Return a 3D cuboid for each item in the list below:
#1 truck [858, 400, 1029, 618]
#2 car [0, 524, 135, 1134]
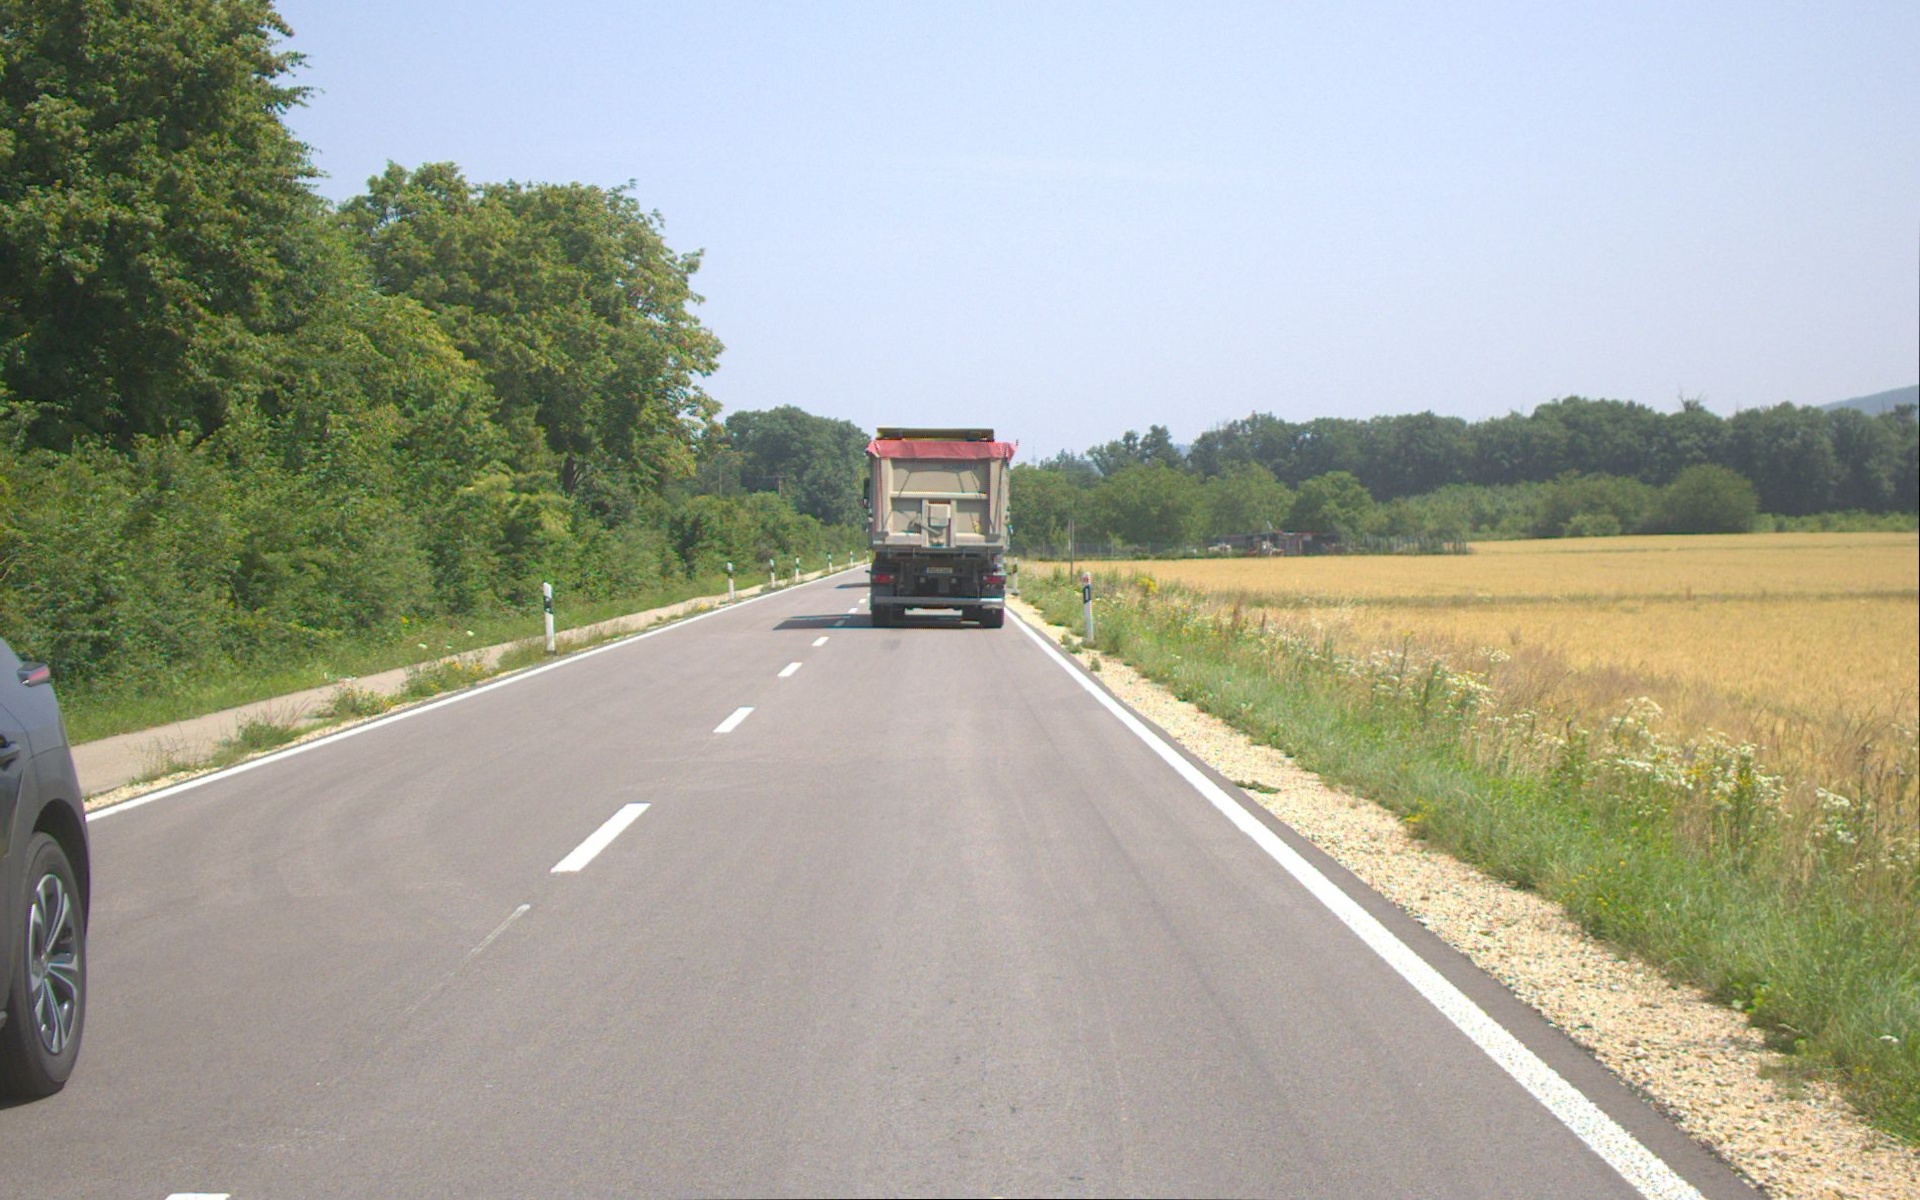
[{"bbox_3d":[-0.326,-1.687,67.783,3.009,3.861,12.209,1,1,0],"label":"truck"},{"bbox_3d":[-3.376,0.630,8.097,1.792,1.568,4.479,-2,1,-1],"label":"car"}]
